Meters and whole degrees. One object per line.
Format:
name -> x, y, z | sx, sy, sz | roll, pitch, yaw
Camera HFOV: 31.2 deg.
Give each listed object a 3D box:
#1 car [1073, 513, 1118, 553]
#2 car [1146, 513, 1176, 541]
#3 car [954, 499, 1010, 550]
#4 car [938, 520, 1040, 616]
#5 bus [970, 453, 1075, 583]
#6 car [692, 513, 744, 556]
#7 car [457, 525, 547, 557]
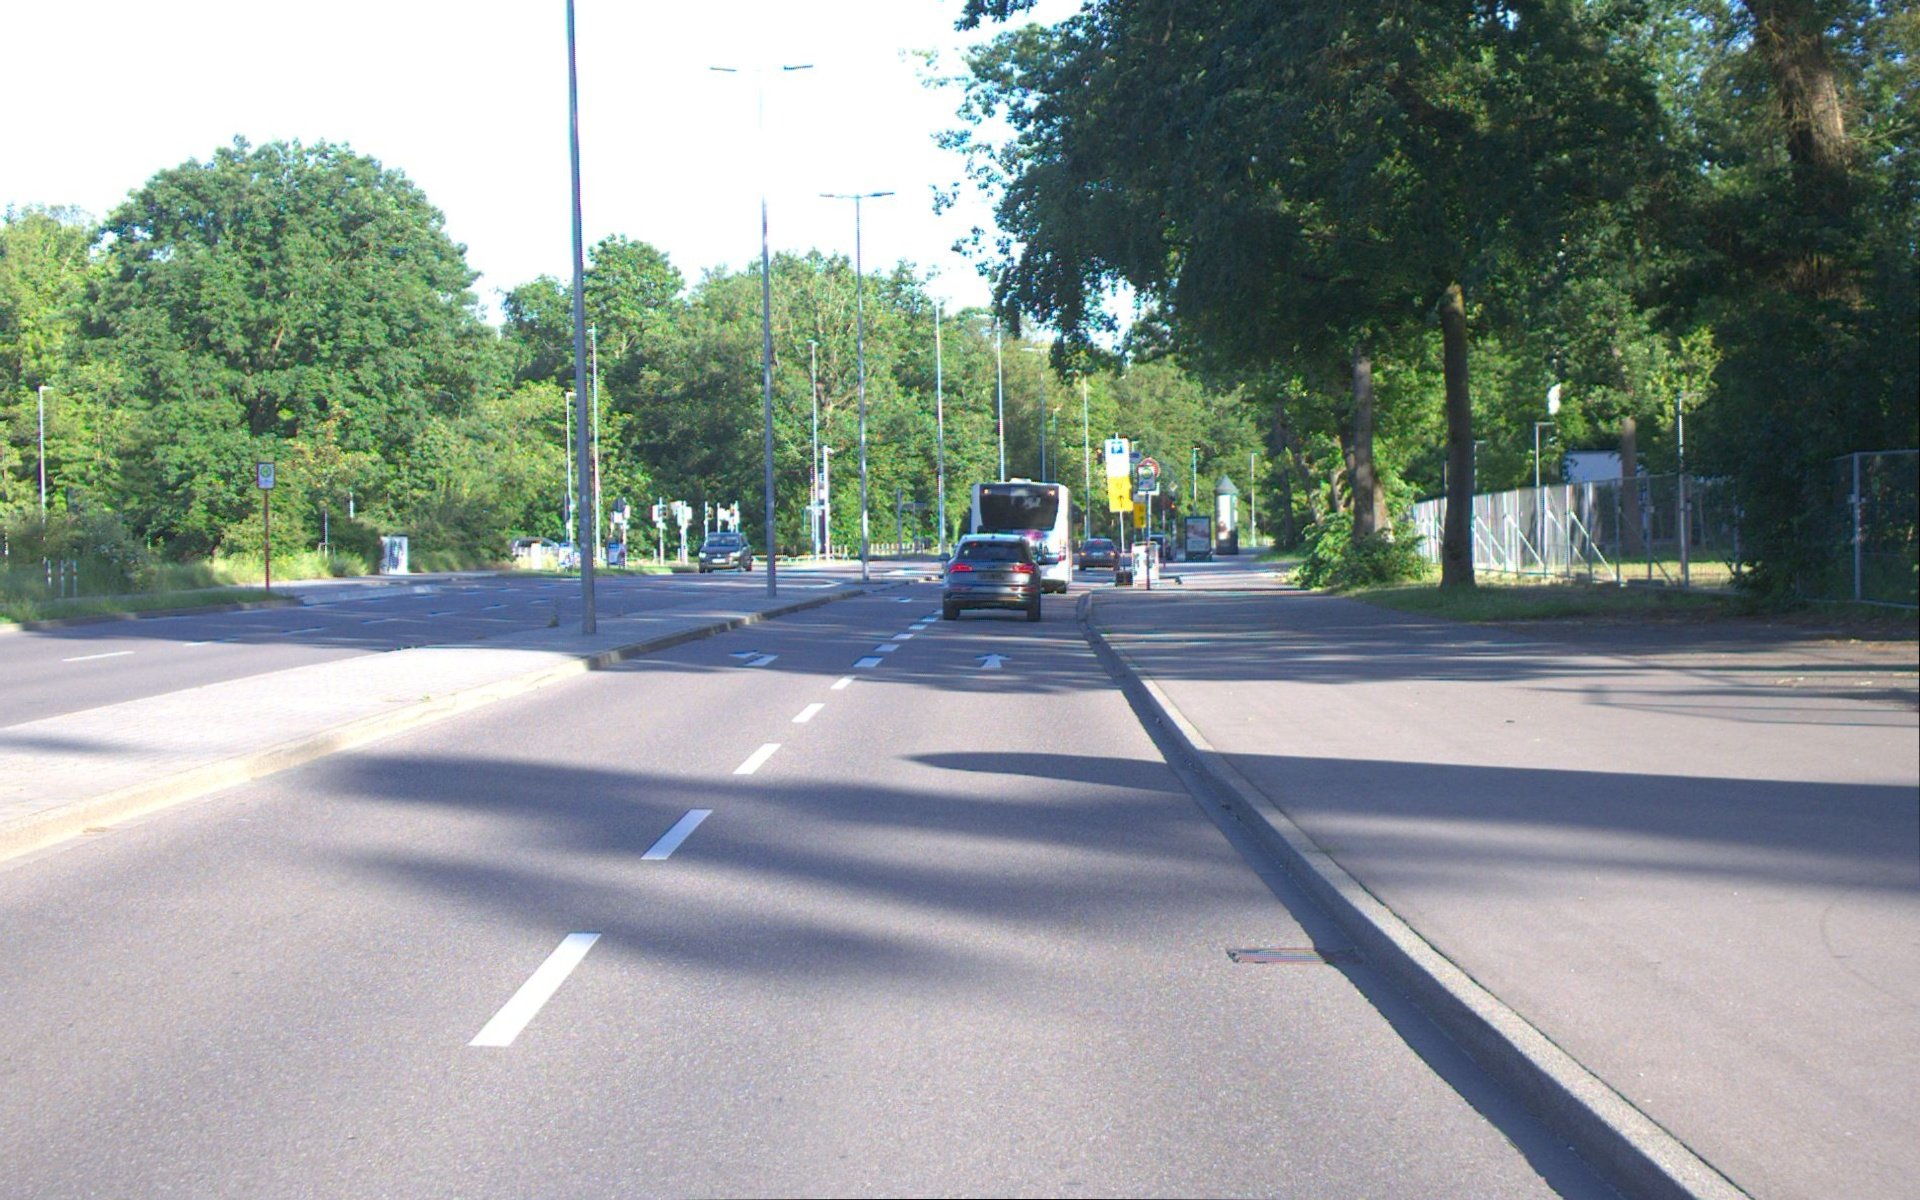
car -> 5.932, -2.935, 150.163 | 1.863, 1.678, 3.772 | -1, 2, 4
car -> 12.123, -4.397, 207.470 | 1.592, 1.600, 3.584 | 1, 1, 1
car -> 0.759, -2.687, 121.688 | 1.880, 1.759, 4.000 | -1, 2, 0
car -> 0.533, -0.643, 66.449 | 1.880, 1.759, 4.000 | -1, 2, 0
bus -> 1.644, -2.255, 93.543 | 2.605, 3.357, 7.976 | 0, 2, -1
car -> -9.993, -2.727, 142.243 | 1.863, 1.678, 3.773 | -1, 2, -1
car -> -20.986, -2.708, 157.414 | 3.665, 1.349, 1.738 | -2, 2, -31
